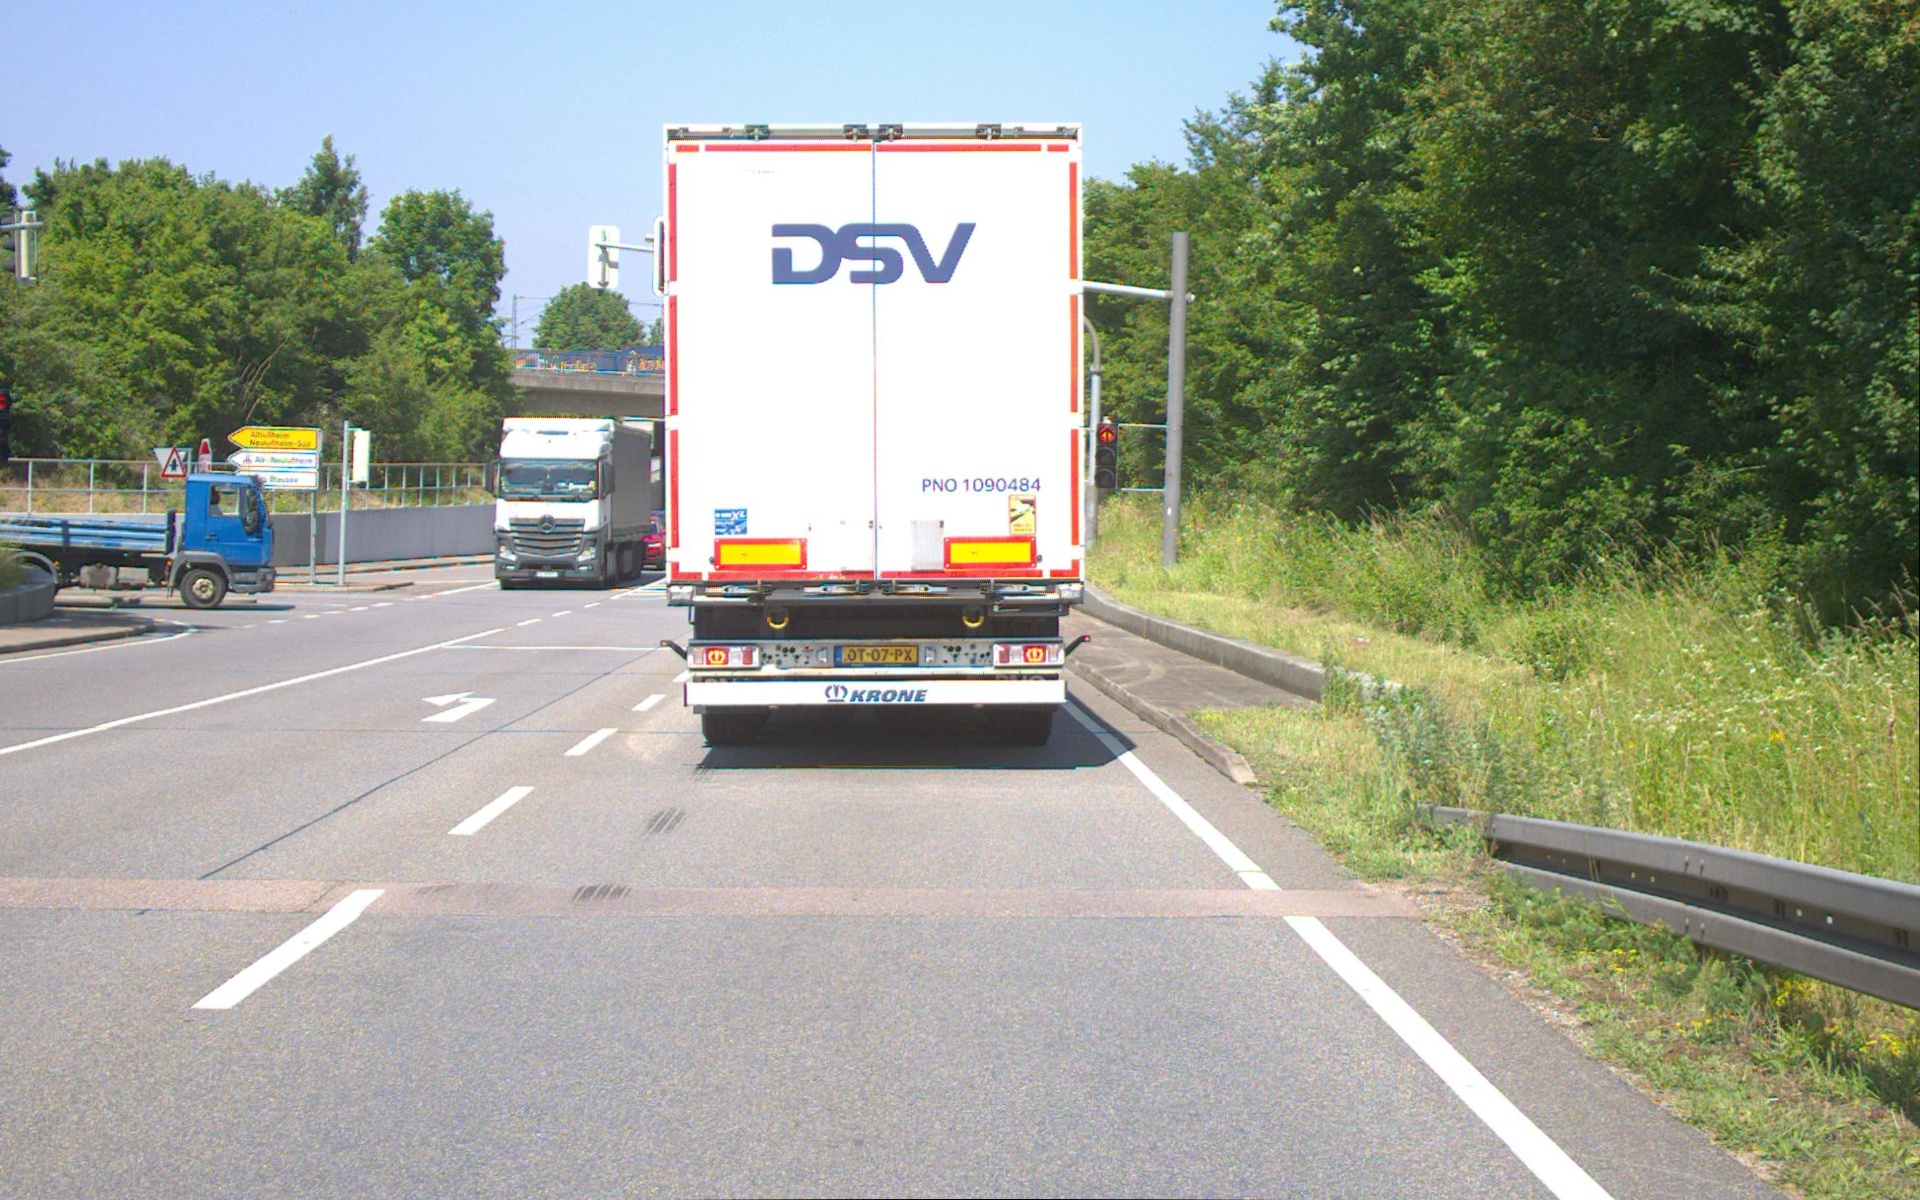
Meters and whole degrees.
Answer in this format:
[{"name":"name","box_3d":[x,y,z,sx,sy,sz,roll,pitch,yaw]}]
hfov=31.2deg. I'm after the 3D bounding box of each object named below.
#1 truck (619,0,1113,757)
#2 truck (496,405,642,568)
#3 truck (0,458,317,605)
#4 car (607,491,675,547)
[{"name":"truck","box_3d":[-0.536,-1.449,25.663,2.950,4.553,9.863,0,1,0]},{"name":"truck","box_3d":[-9.552,-2.801,85.130,2.353,3.737,12.627,0,2,-1]},{"name":"truck","box_3d":[-14.772,-1.220,61.352,6.409,2.490,2.716,1,1,-12]},{"name":"car","box_3d":[-9.500,-2.438,102.501,1.747,1.620,3.704,0,2,-1]}]
